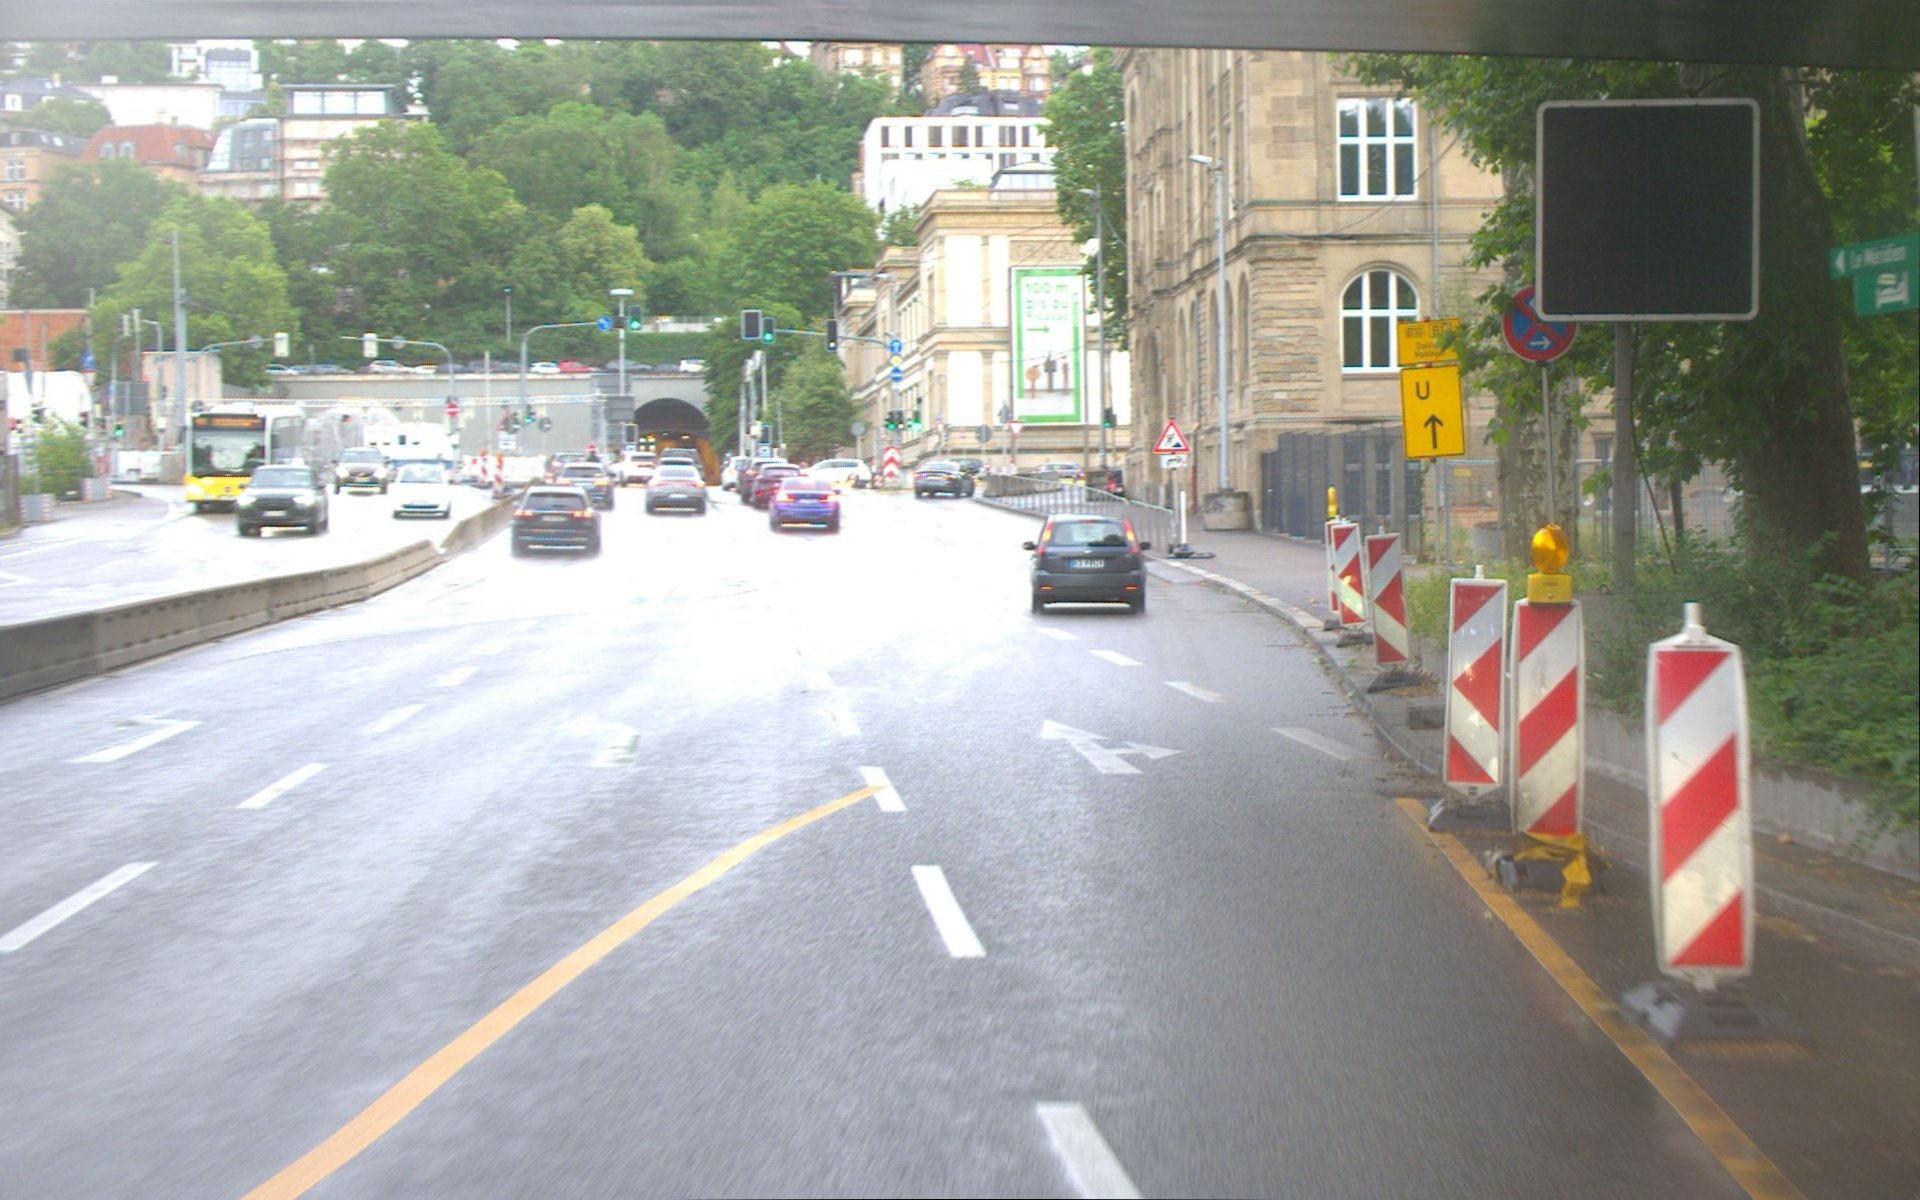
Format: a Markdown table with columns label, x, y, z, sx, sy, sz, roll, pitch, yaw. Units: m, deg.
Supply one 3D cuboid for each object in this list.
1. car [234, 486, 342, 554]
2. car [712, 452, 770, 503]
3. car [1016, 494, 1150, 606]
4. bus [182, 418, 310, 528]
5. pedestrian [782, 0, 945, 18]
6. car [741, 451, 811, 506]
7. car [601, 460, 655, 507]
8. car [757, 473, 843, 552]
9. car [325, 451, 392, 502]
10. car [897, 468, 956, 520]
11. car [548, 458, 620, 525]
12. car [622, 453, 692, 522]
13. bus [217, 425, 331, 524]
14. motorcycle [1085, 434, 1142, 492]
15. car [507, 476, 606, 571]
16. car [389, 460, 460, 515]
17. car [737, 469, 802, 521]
| label | x | y | z | sx | sy | sz | roll | pitch | yaw |
| --- | --- | --- | --- | --- | --- | --- | --- | --- | --- |
| car | -16.956 | -2.048 | 86.961 | 2.081 | 1.625 | 4.854 | -1 | 2 | -4 |
| car | -9.000 | -5.024 | 141.113 | 1.993 | 2.007 | 4.001 | -1 | 1 | -8 |
| car | 1.840 | -0.736 | 50.320 | 1.812 | 1.521 | 4.000 | -1 | 1 | 4 |
| bus | -21.949 | -3.873 | 106.072 | 2.805 | 3.173 | 8.809 | -1 | 2 | -5 |
| pedestrian | -0.735 | -5.423 | 25.379 | 1.148 | 2.053 | 1.059 | -1 | 0 | 3 |
| car | -6.148 | -4.020 | 114.435 | 1.993 | 1.693 | 4.001 | -1 | 1 | -7 |
| car | -15.211 | -5.320 | 157.251 | 2.292 | 2.007 | 4.605 | -1 | 1 | -7 |
| car | -4.386 | -2.364 | 93.681 | 2.104 | 2.043 | 4.001 | -1 | 1 | -5 |
| car | -21.314 | -4.363 | 122.035 | 2.039 | 1.656 | 4.934 | -1 | 1 | -7 |
| car | -1.350 | -4.188 | 135.994 | 1.993 | 2.006 | 4.001 | 0 | 2 | -6 |
| car | -12.008 | -3.457 | 110.065 | 1.993 | 2.007 | 4.000 | -1 | 1 | -3 |
| car | -9.462 | -3.480 | 107.031 | 2.051 | 2.007 | 4.001 | -1 | 1 | -6 |
| bus | -22.882 | -4.154 | 115.057 | 2.703 | 3.140 | 9.152 | -1 | 2 | -5 |
| motorcycle | 5.490 | -4.937 | 123.476 | 1.795 | 2.006 | 3.814 | -1 | 3 | -1 |
| car | -8.863 | -1.665 | 75.758 | 2.016 | 2.007 | 4.001 | -1 | 1 | -5 |
| car | -15.511 | -3.245 | 99.671 | 1.709 | 1.484 | 3.451 | -1 | 1 | -4 |
| car | -6.734 | -3.680 | 121.127 | 1.993 | 1.693 | 4.001 | -1 | 1 | -7 |
